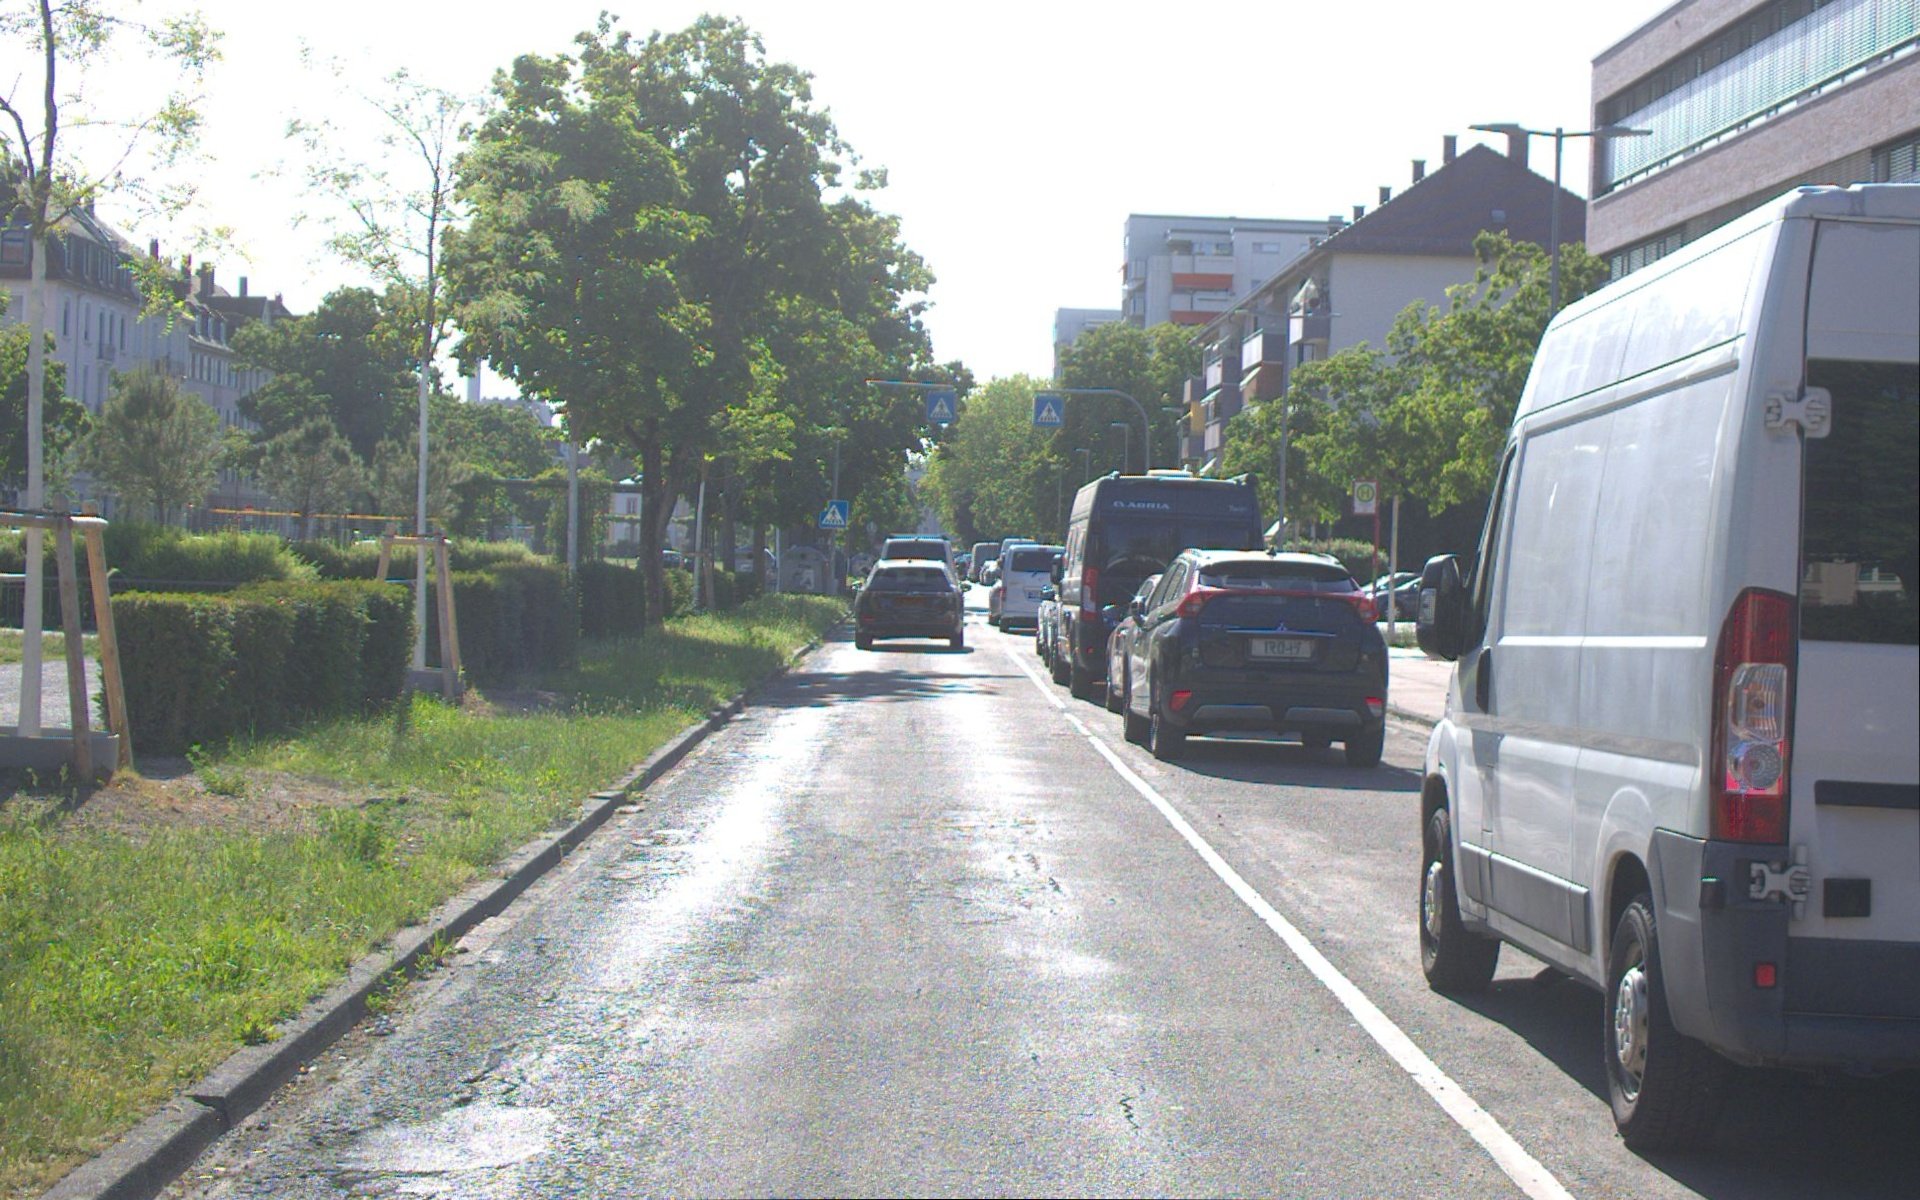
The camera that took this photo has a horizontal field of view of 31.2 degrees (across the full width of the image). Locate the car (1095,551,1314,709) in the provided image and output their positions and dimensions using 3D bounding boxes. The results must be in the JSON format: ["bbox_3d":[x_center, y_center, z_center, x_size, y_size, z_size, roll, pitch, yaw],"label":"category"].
[{"bbox_3d":[2.401,0.257,34.625,1.794,1.450,3.950,2,1,-1],"label":"car"}]

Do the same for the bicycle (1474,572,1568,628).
[{"bbox_3d":[11.258,0.001,68.979,1.794,1.104,0.500,-1,1,-3],"label":"bicycle"}]

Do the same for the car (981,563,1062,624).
[{"bbox_3d":[1.418,-0.160,80.521,1.764,1.314,4.168,3,0,0],"label":"car"}]

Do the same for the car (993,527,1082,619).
[{"bbox_3d":[1.672,-0.599,73.869,1.794,1.848,4.413,2,1,1],"label":"car"}]

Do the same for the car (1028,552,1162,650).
[{"bbox_3d":[2.076,-0.015,53.956,1.794,1.415,4.658,2,1,-1],"label":"car"}]

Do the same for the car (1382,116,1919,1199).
[{"bbox_3d":[2.832,0.178,10.627,2.241,2.565,5.433,2,1,0],"label":"car"}]

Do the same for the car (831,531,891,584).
[{"bbox_3d":[-3.194,-1.401,111.467,1.794,1.619,4.000,2,1,0],"label":"car"}]

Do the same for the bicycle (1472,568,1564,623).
[{"bbox_3d":[11.396,-0.095,70.236,1.794,1.104,0.500,-1,1,-3],"label":"bicycle"}]

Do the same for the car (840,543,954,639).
[{"bbox_3d":[-1.036,-0.179,57.805,1.794,1.505,4.000,2,1,0],"label":"car"}]

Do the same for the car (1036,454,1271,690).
[{"bbox_3d":[2.174,-0.353,40.549,2.115,2.507,6.533,2,1,-2],"label":"car"}]

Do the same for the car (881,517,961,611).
[{"bbox_3d":[-0.909,-0.876,81.709,1.794,2.115,4.000,2,1,0],"label":"car"}]

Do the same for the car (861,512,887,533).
[{"bbox_3d":[-6.362,-5.761,255.295,1.794,1.505,4.000,1,1,0],"label":"car"}]

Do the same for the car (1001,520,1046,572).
[{"bbox_3d":[3.180,-2.703,172.212,1.993,2.422,4.500,4,1,0],"label":"car"}]

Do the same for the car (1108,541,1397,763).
[{"bbox_3d":[2.315,0.358,28.306,1.846,1.634,4.504,2,1,-1],"label":"car"}]
